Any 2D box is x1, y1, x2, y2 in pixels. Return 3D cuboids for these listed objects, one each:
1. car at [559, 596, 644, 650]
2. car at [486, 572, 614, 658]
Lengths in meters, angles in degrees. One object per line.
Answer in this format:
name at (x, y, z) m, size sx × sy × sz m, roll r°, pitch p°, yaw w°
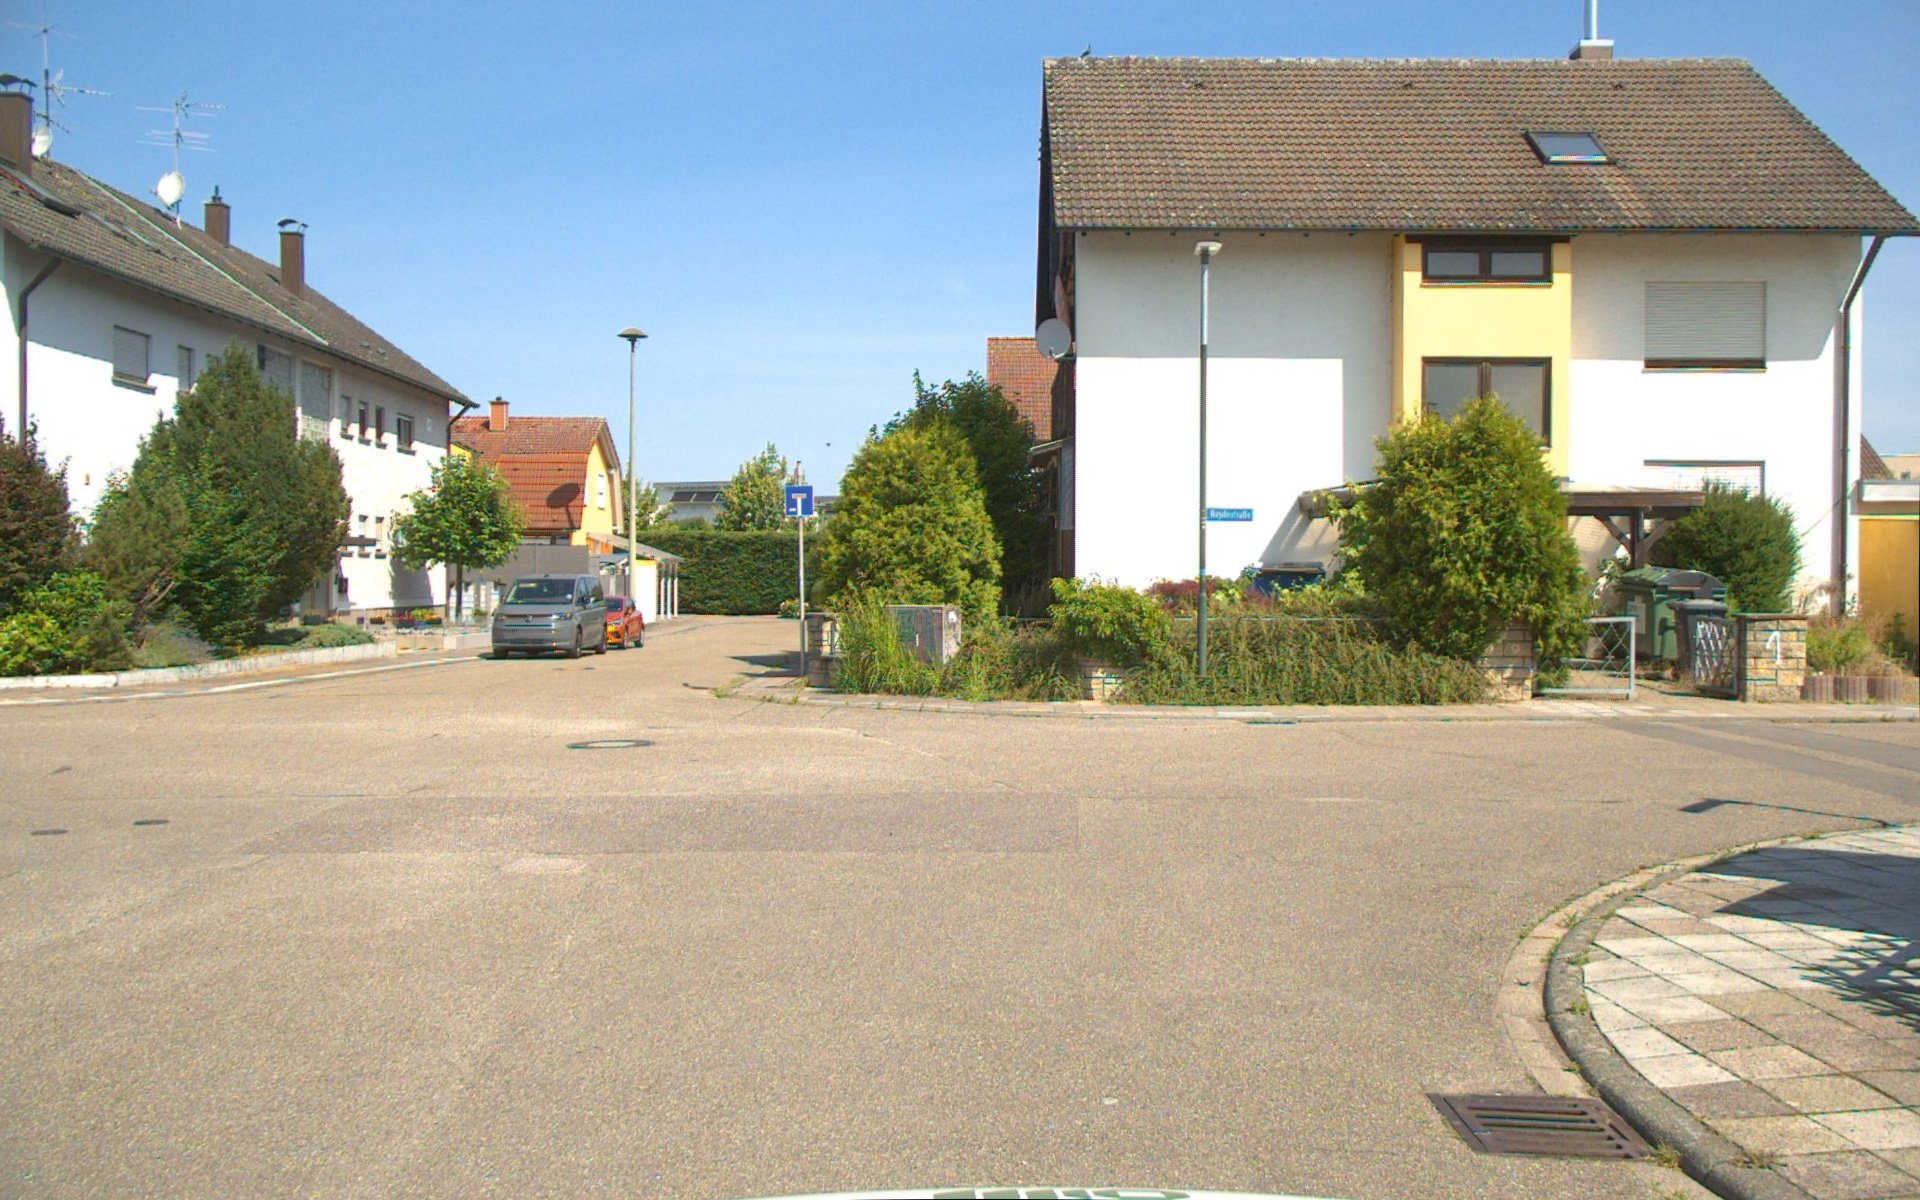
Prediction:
car at (-9.722, 0.598, 45.064) m, size 1.618 × 1.388 × 3.777 m, roll 0°, pitch 0°, yaw -2°
car at (-9.473, 0.301, 38.551) m, size 1.862 × 1.902 × 4.372 m, roll 0°, pitch 1°, yaw 1°
